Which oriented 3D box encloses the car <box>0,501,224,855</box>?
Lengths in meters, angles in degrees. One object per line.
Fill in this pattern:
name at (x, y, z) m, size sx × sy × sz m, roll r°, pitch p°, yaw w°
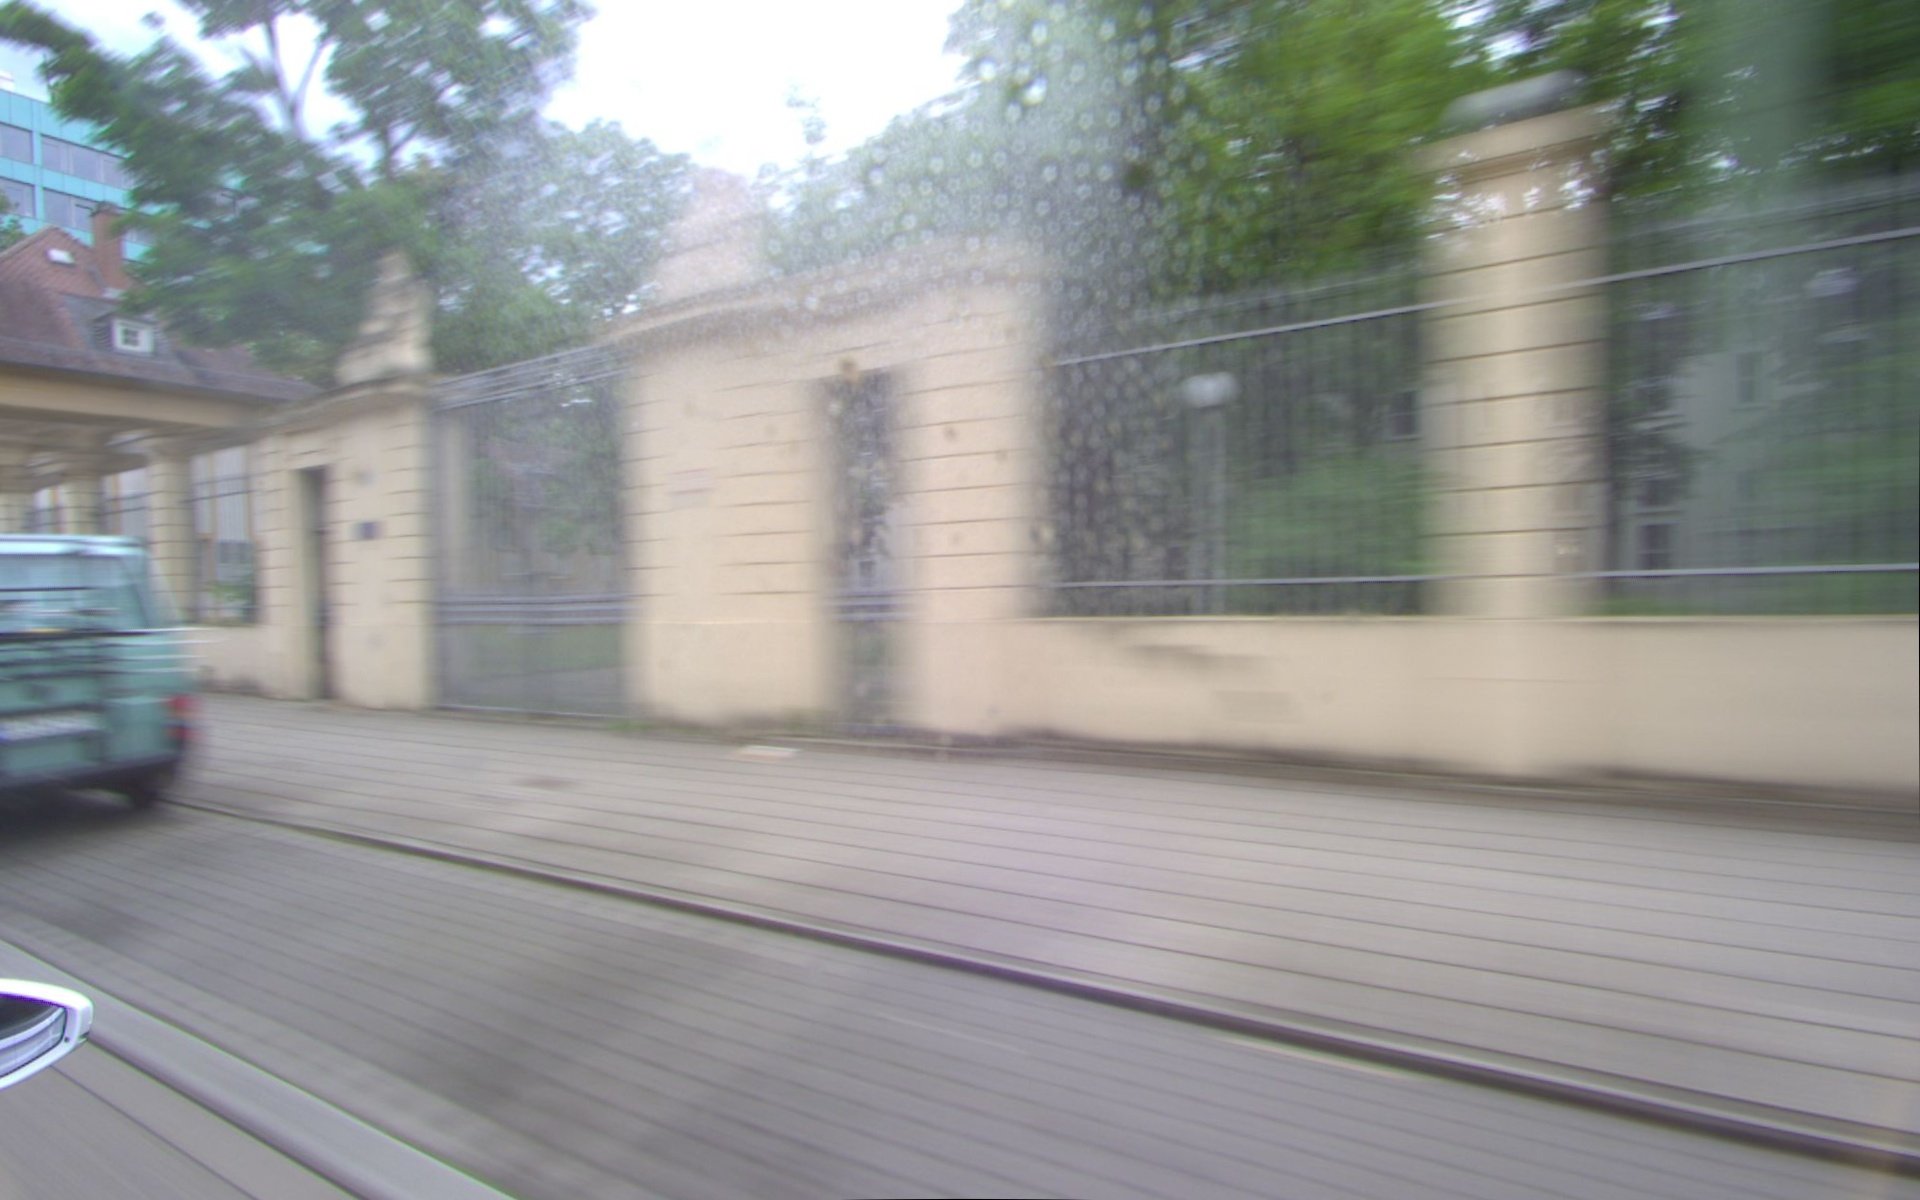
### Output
car at (-7.805, 0.496, 7.543) m, size 4.913 × 2.144 × 1.846 m, roll -1°, pitch 3°, yaw 32°
